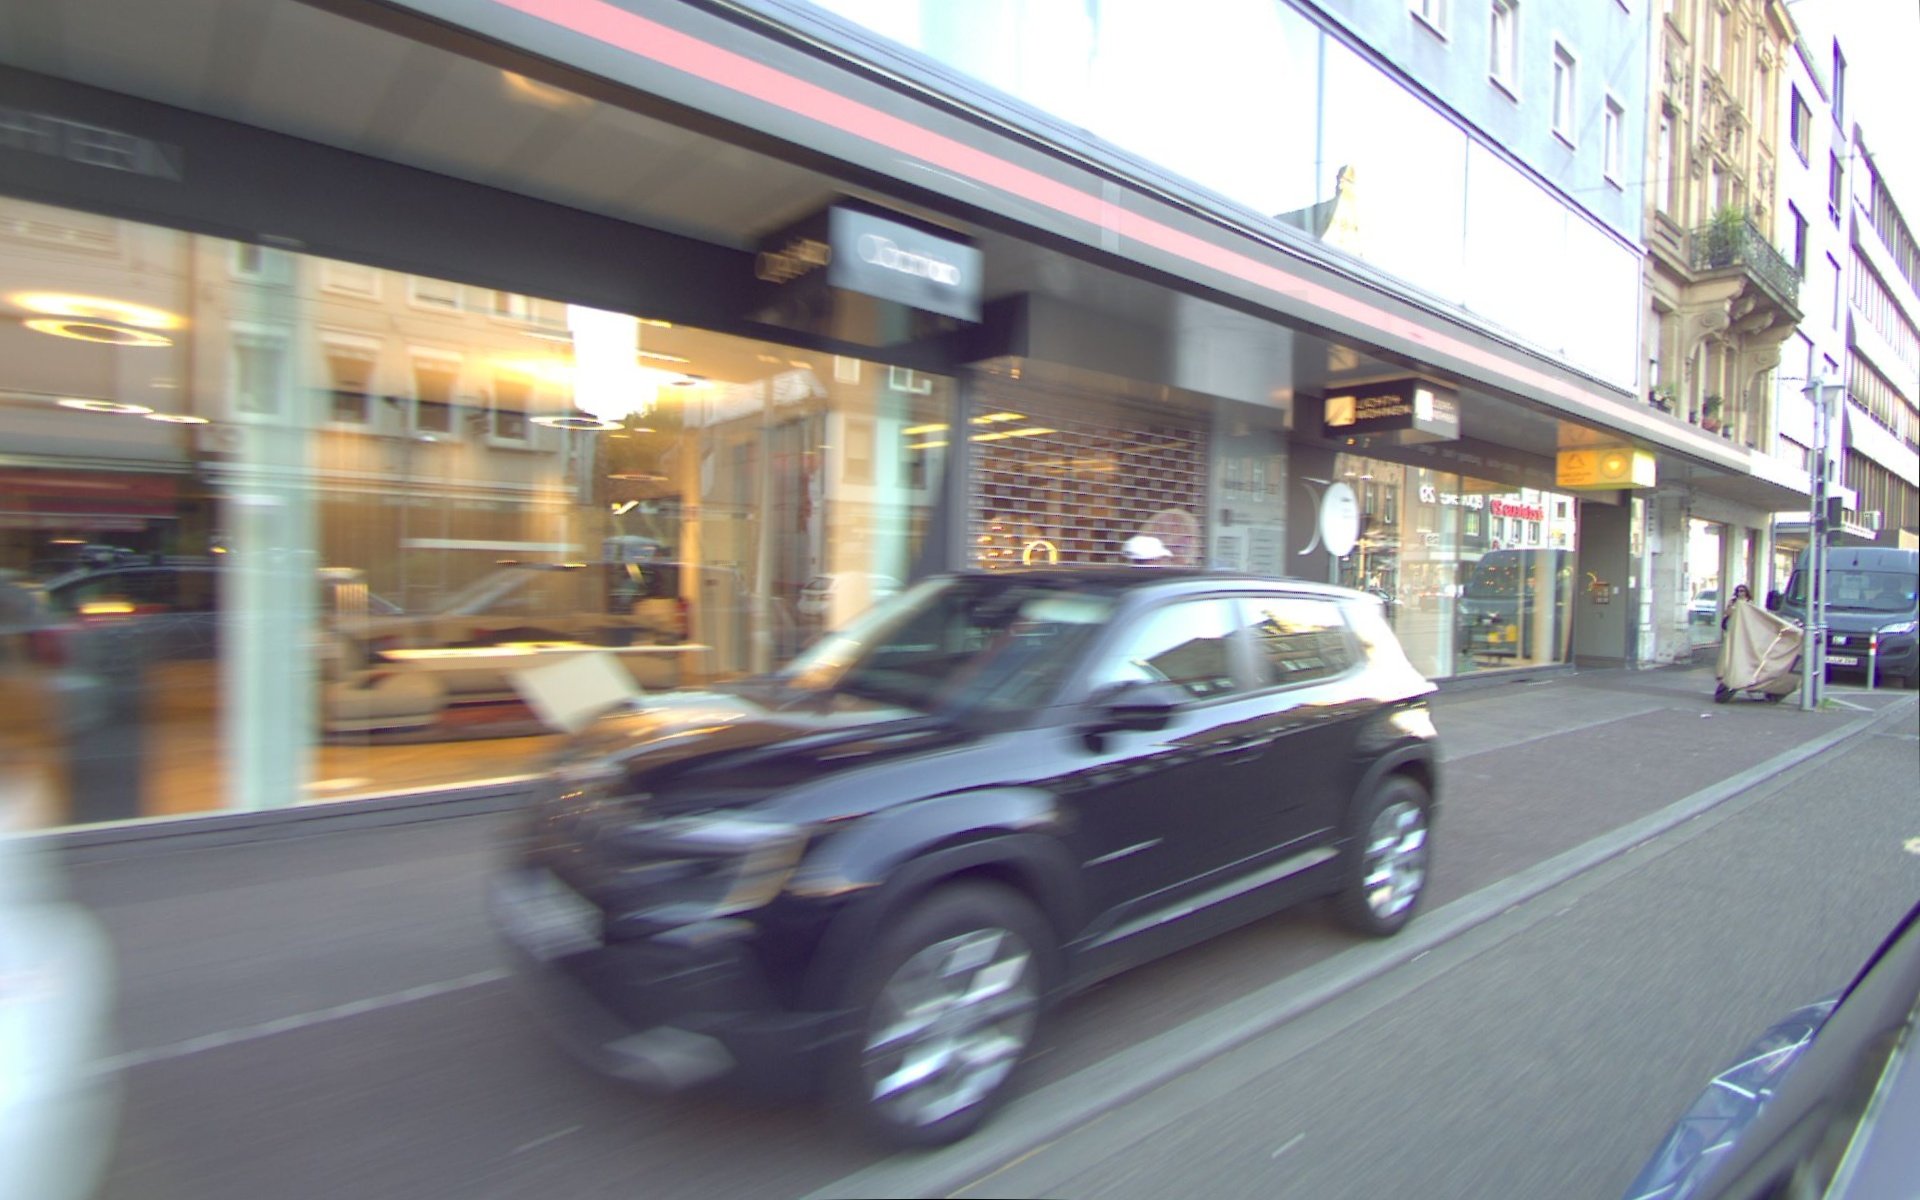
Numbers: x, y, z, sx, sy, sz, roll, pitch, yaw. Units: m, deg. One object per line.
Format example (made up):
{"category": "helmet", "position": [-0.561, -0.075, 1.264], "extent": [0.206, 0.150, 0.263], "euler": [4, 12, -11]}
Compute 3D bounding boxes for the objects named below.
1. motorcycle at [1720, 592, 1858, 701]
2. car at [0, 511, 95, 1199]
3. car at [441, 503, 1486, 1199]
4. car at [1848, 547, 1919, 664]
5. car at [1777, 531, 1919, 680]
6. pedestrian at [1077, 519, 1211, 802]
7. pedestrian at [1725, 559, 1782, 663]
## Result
{"category": "motorcycle", "position": [11.030, 0.611, 13.480], "extent": [1.478, 1.394, 0.576], "euler": [1, 1, -11]}
{"category": "car", "position": [-3.184, 0.624, 0.753], "extent": [3.817, 1.561, 1.682], "euler": [0, 3, -40]}
{"category": "car", "position": [0.349, 0.565, 3.964], "extent": [3.964, 1.594, 1.673], "euler": [0, 2, -41]}
{"category": "car", "position": [21.917, 0.092, 22.935], "extent": [5.468, 2.434, 1.997], "euler": [0, 2, -42]}
{"category": "car", "position": [17.106, 0.053, 18.844], "extent": [5.489, 2.414, 2.044], "euler": [0, 2, -42]}
{"category": "pedestrian", "position": [1.231, 0.369, 6.779], "extent": [0.594, 1.775, 0.610], "euler": [0, 2, -41]}
{"category": "pedestrian", "position": [16.006, 0.213, 20.406], "extent": [0.810, 2.038, 0.711], "euler": [0, 2, -41]}
